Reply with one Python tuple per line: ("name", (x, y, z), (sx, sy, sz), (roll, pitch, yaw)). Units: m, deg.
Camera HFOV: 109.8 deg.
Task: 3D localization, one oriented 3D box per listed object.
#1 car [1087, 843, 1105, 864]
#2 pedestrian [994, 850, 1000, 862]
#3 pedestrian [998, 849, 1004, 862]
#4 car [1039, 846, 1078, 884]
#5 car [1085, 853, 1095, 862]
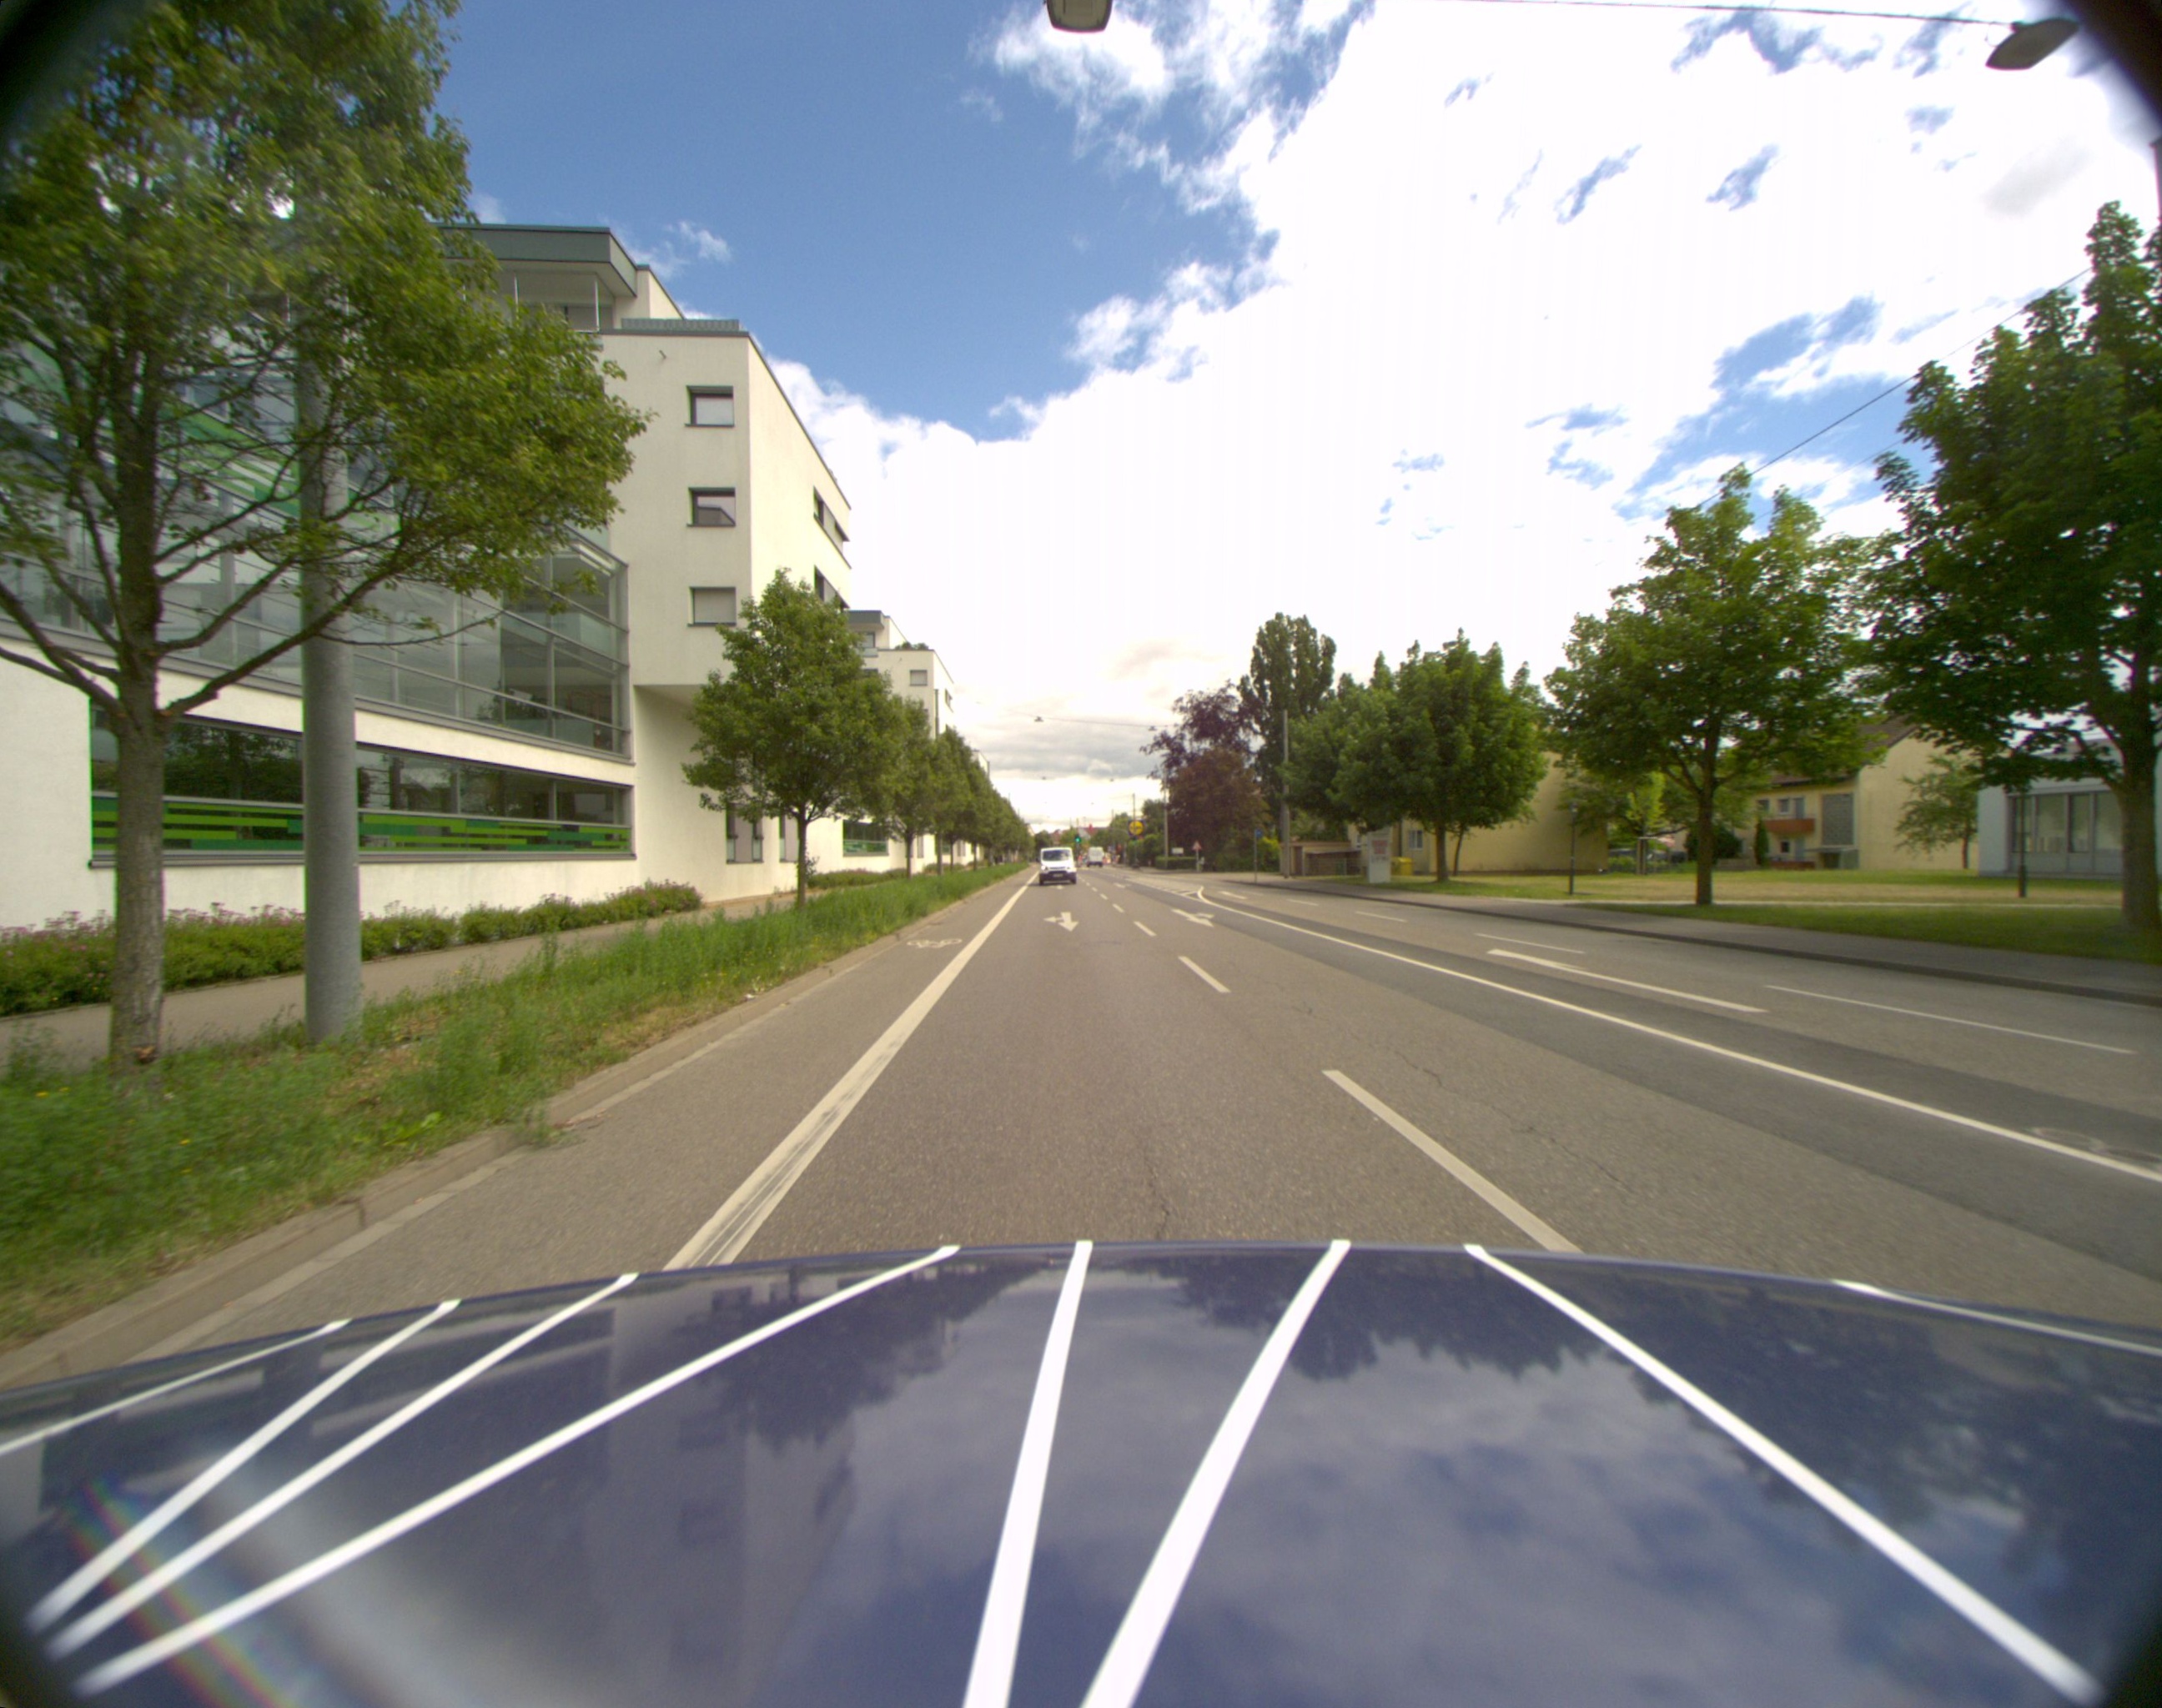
("car", (2.069, -0.073, 106.959), (2.149, 2.803, 6.146), (1, 0, -3))
("pedestrian", (-12.765, 0.265, 115.937), (0.621, 1.830, 0.587), (-4, 2, -29))
("pedestrian", (-12.192, 0.215, 115.421), (0.742, 1.875, 0.701), (-3, 2, -5))
("car", (-1.253, 0.558, 41.625), (1.999, 1.905, 3.998), (-2, 1, -3))
("car", (1.570, 0.578, 138.613), (1.612, 1.510, 3.239), (2, 1, -3))
